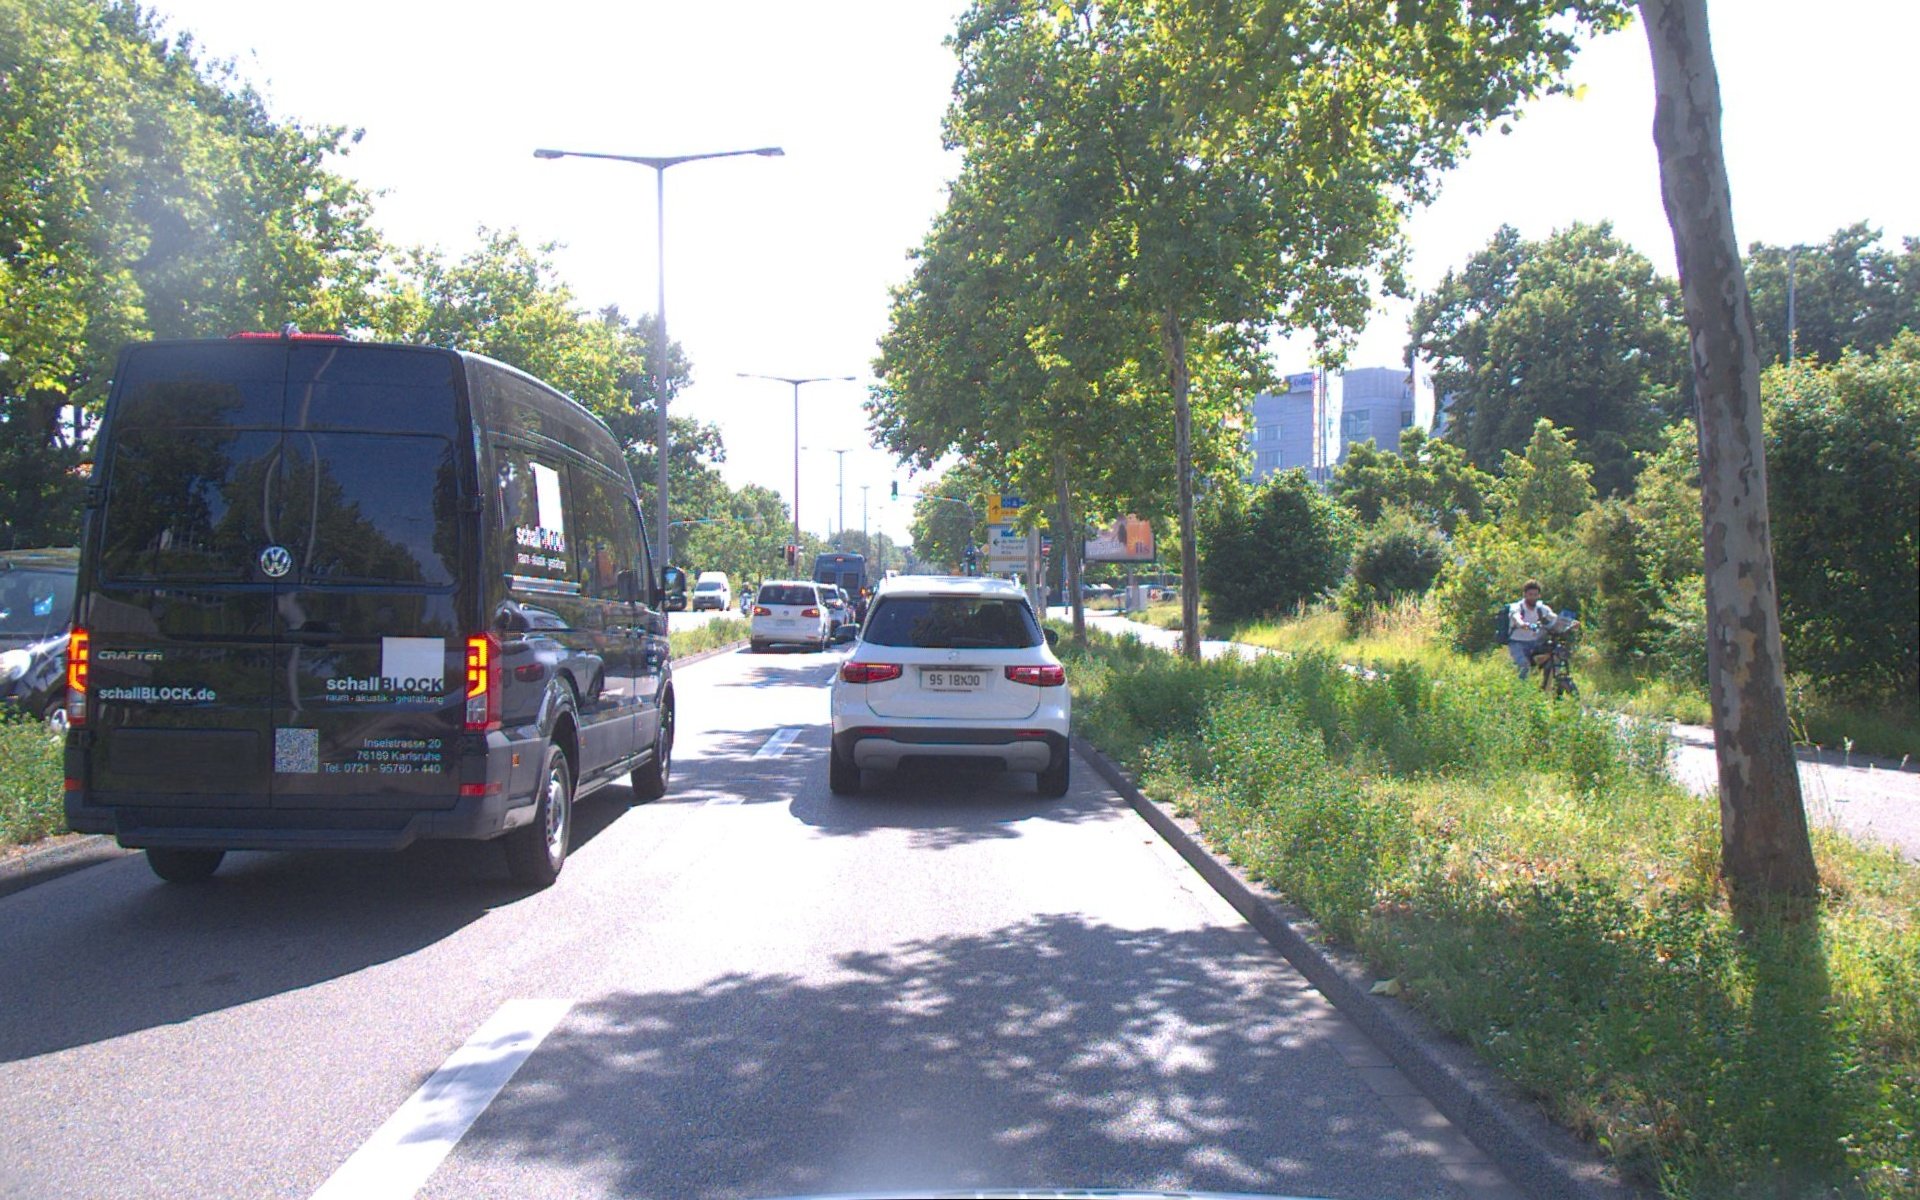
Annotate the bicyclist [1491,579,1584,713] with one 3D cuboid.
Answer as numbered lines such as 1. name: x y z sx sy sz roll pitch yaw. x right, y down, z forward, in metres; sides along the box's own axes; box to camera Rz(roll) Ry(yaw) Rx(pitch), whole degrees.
1. bicyclist: 6.659 0.516 19.110 0.690 1.503 1.009 1 0 -1

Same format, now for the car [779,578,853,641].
1. car: -3.971 0.248 46.051 1.735 1.676 4.084 1 0 -1

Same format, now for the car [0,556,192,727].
1. car: -11.096 0.414 19.341 1.728 1.821 5.375 2 0 -1

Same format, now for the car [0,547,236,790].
1. car: -8.106 0.487 14.459 1.696 1.841 4.231 2 0 -1

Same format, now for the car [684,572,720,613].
1. car: -16.020 -0.506 102.939 1.955 2.460 5.132 1 0 -6

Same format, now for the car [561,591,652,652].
1. car: -9.097 0.523 42.813 1.570 1.497 3.789 1 0 -1

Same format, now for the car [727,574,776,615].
1. car: -10.341 -0.256 82.230 1.953 1.914 3.999 2 0 -2

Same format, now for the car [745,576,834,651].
1. car: -4.071 0.307 40.033 1.735 1.676 4.351 1 0 -1

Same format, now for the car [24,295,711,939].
1. car: -2.929 0.068 9.984 1.975 2.653 6.167 1 0 -1

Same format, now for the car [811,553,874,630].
1. car: -4.355 -0.313 62.013 2.039 2.703 4.873 1 0 -1

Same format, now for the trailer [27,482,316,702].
1. trailer: -11.176 -0.108 23.888 1.842 2.792 4.828 2 0 -1

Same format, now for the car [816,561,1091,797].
1. car: -0.207 0.543 13.576 1.818 1.635 3.994 0 0 -7

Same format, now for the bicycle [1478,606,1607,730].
1. bicycle: 6.639 0.737 18.964 0.708 1.321 2.095 1 0 -1
